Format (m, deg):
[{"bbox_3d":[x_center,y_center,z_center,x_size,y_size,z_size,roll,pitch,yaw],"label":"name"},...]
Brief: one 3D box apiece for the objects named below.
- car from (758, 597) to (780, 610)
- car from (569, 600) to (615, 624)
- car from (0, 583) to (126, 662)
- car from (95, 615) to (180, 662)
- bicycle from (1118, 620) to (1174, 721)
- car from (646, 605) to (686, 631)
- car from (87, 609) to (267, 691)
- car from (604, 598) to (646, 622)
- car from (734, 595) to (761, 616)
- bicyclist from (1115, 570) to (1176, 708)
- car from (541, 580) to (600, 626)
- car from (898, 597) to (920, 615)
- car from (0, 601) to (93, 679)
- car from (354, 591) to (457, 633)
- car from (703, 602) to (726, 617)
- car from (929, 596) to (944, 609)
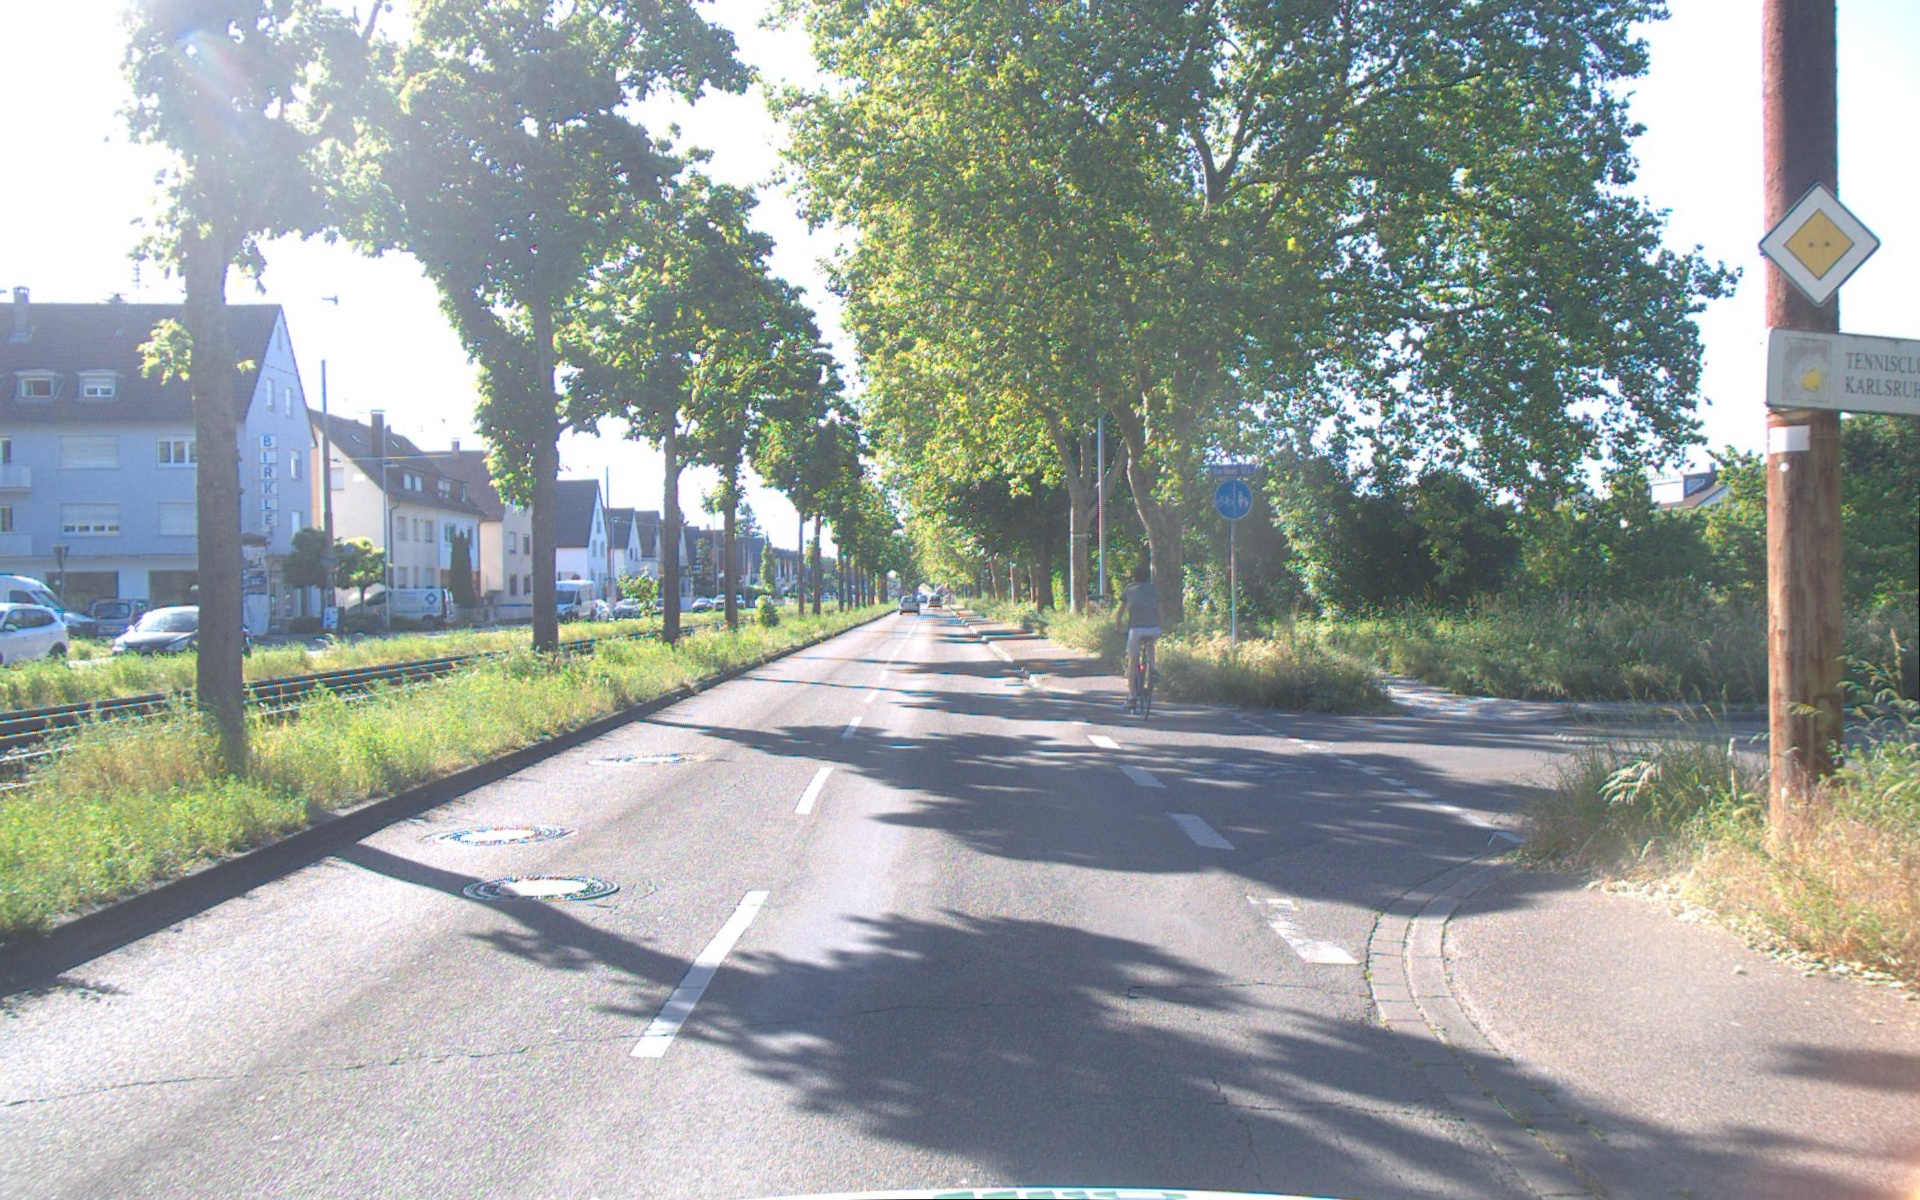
[{"bbox_3d":[-24.001,0.453,207.890,1.952,1.627,4.733,0,0,2],"label":"car"},{"bbox_3d":[-22.288,0.734,100.315,1.787,1.437,4.656,0,0,-1],"label":"car"},{"bbox_3d":[-31.642,0.721,54.611,6.928,2.551,2.328,0,0,-6],"label":"car"},{"bbox_3d":[-31.353,1.438,63.169,1.762,1.699,4.091,0,0,-10],"label":"car"},{"bbox_3d":[2.290,0.848,20.526,0.431,1.173,1.823,-1,0,-1],"label":"bicycle"},{"bbox_3d":[-17.264,1.059,97.280,1.642,1.434,3.999,-1,0,-1],"label":"car"},{"bbox_3d":[-16.364,1.008,34.762,1.953,1.558,3.751,-1,0,0],"label":"car"},{"bbox_3d":[-23.041,0.658,113.914,1.953,1.609,4.497,0,0,0],"label":"car"},{"bbox_3d":[-19.867,0.521,154.605,1.876,1.916,4.523,0,0,0],"label":"car"},{"bbox_3d":[2.293,0.470,20.521,0.601,1.657,0.909,-1,0,-1],"label":"bicyclist"},{"bbox_3d":[-22.197,0.179,94.558,1.953,2.502,6.672,0,0,-1],"label":"car"},{"bbox_3d":[-3.984,0.478,130.136,1.703,1.425,3.276,0,0,-1],"label":"car"},{"bbox_3d":[-21.136,0.854,36.259,1.785,1.635,4.773,0,0,-1],"label":"car"},{"bbox_3d":[-27.093,0.595,80.965,4.536,1.979,1.994,-1,0,-12],"label":"car"},{"bbox_3d":[-22.537,0.910,152.044,1.463,1.349,4.000,0,0,0],"label":"car"},{"bbox_3d":[-2.727,0.295,191.571,1.725,1.539,3.276,0,0,0],"label":"car"}]
